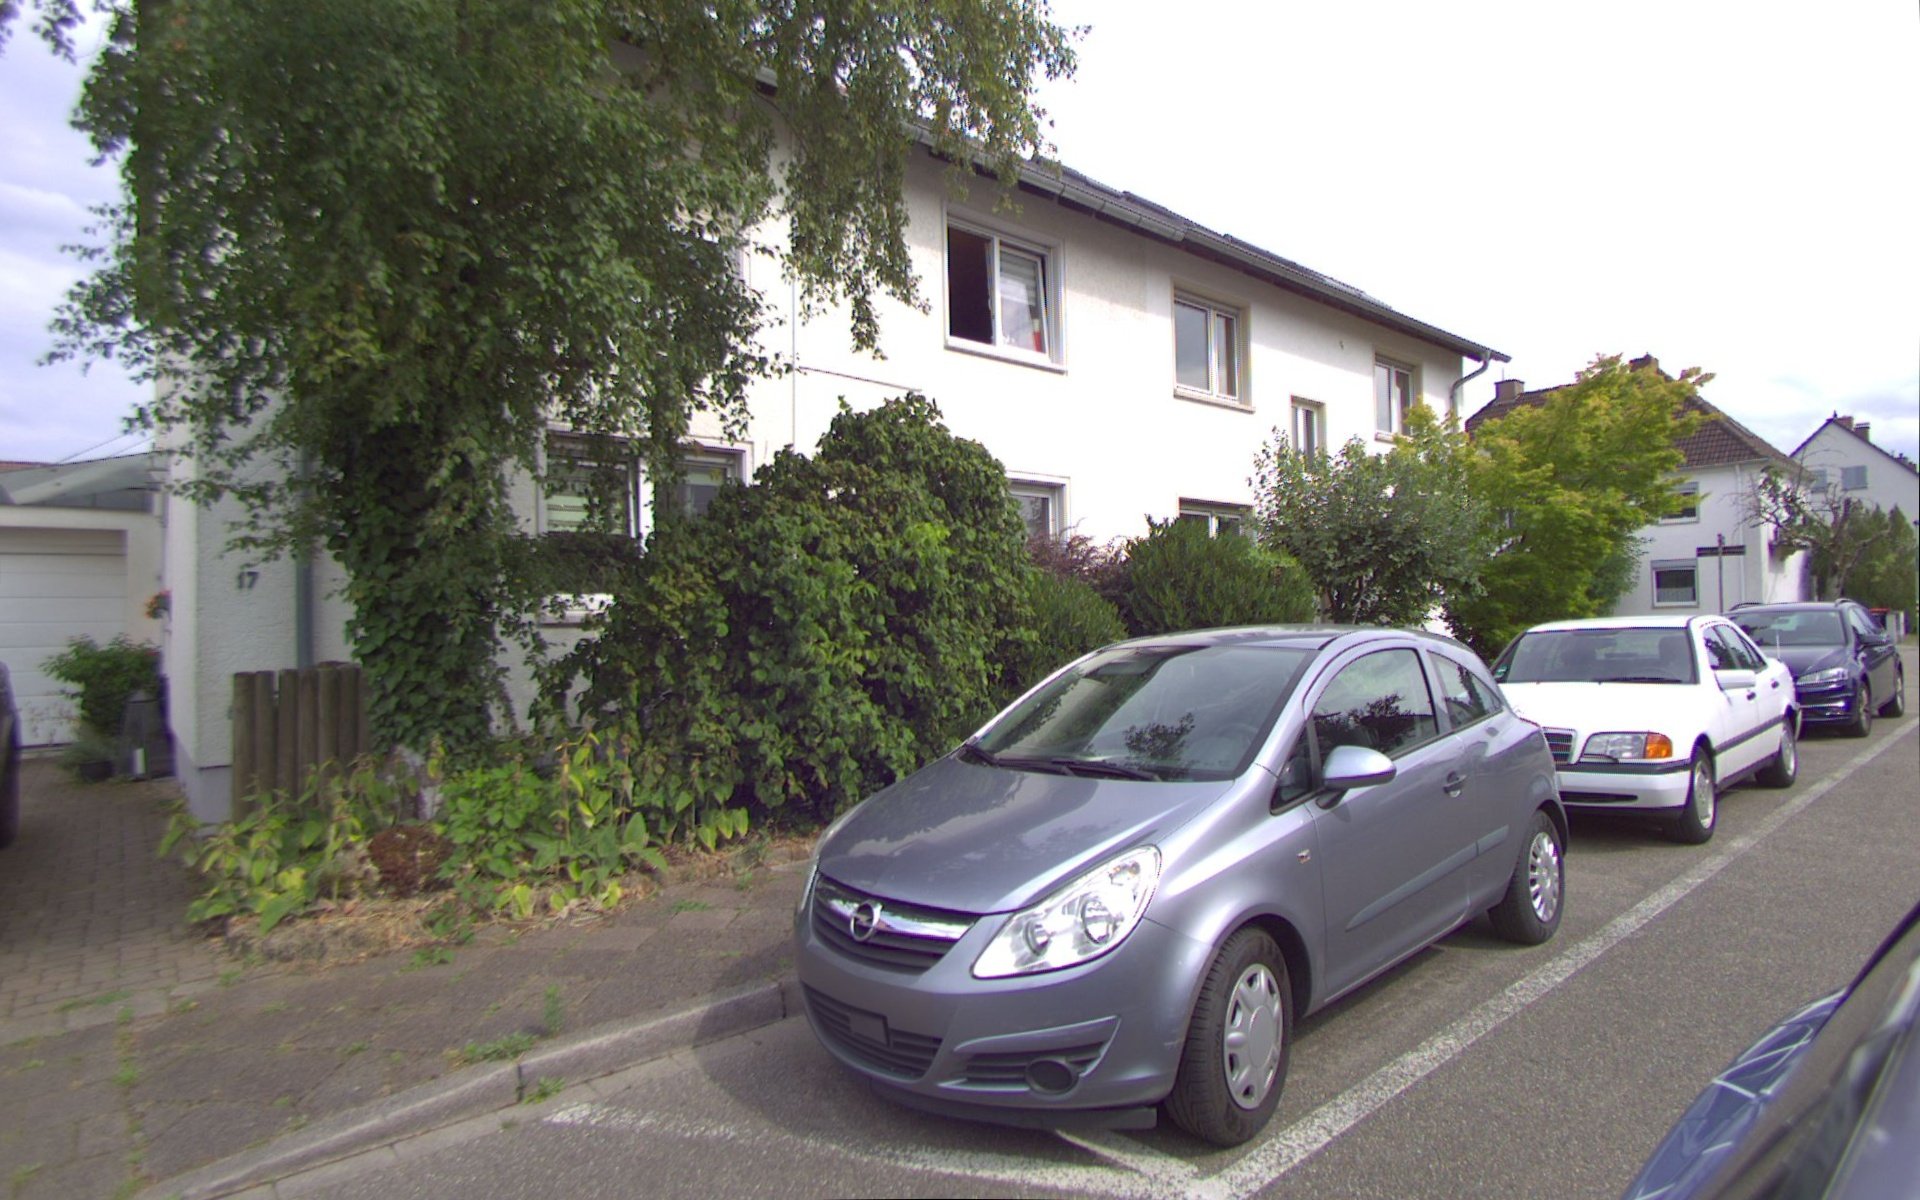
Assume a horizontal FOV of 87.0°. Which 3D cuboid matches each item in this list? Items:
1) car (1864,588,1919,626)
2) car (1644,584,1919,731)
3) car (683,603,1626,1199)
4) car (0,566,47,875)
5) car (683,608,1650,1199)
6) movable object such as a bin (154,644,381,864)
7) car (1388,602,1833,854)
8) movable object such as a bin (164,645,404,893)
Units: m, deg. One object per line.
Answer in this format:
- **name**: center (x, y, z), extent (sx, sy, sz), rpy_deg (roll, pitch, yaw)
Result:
- **car**: center (45.125, 0.290, 47.279), extent (1.964, 1.728, 3.995), rpy_deg (0, -1, -39)
- **car**: center (10.178, 0.572, 12.255), extent (4.764, 1.458, 1.871), rpy_deg (-1, -1, -40)
- **car**: center (1.161, 0.796, 4.227), extent (4.149, 1.461, 1.704), rpy_deg (0, -3, -43)
- **car**: center (-6.062, 0.682, 5.027), extent (1.864, 1.730, 4.542), rpy_deg (0, -1, -37)
- **car**: center (1.168, 0.807, 4.221), extent (4.142, 1.489, 1.745), rpy_deg (0, -1, -40)
- **movable object such as a bin**: center (-4.367, 0.906, 6.401), extent (1.122, 1.191, 0.654), rpy_deg (0, -1, -41)
- **car**: center (5.262, 0.745, 7.889), extent (4.617, 1.382, 1.695), rpy_deg (-1, -1, -41)
- **movable object such as a bin**: center (-3.870, 0.891, 5.807), extent (1.080, 1.209, 0.721), rpy_deg (0, -1, -40)
